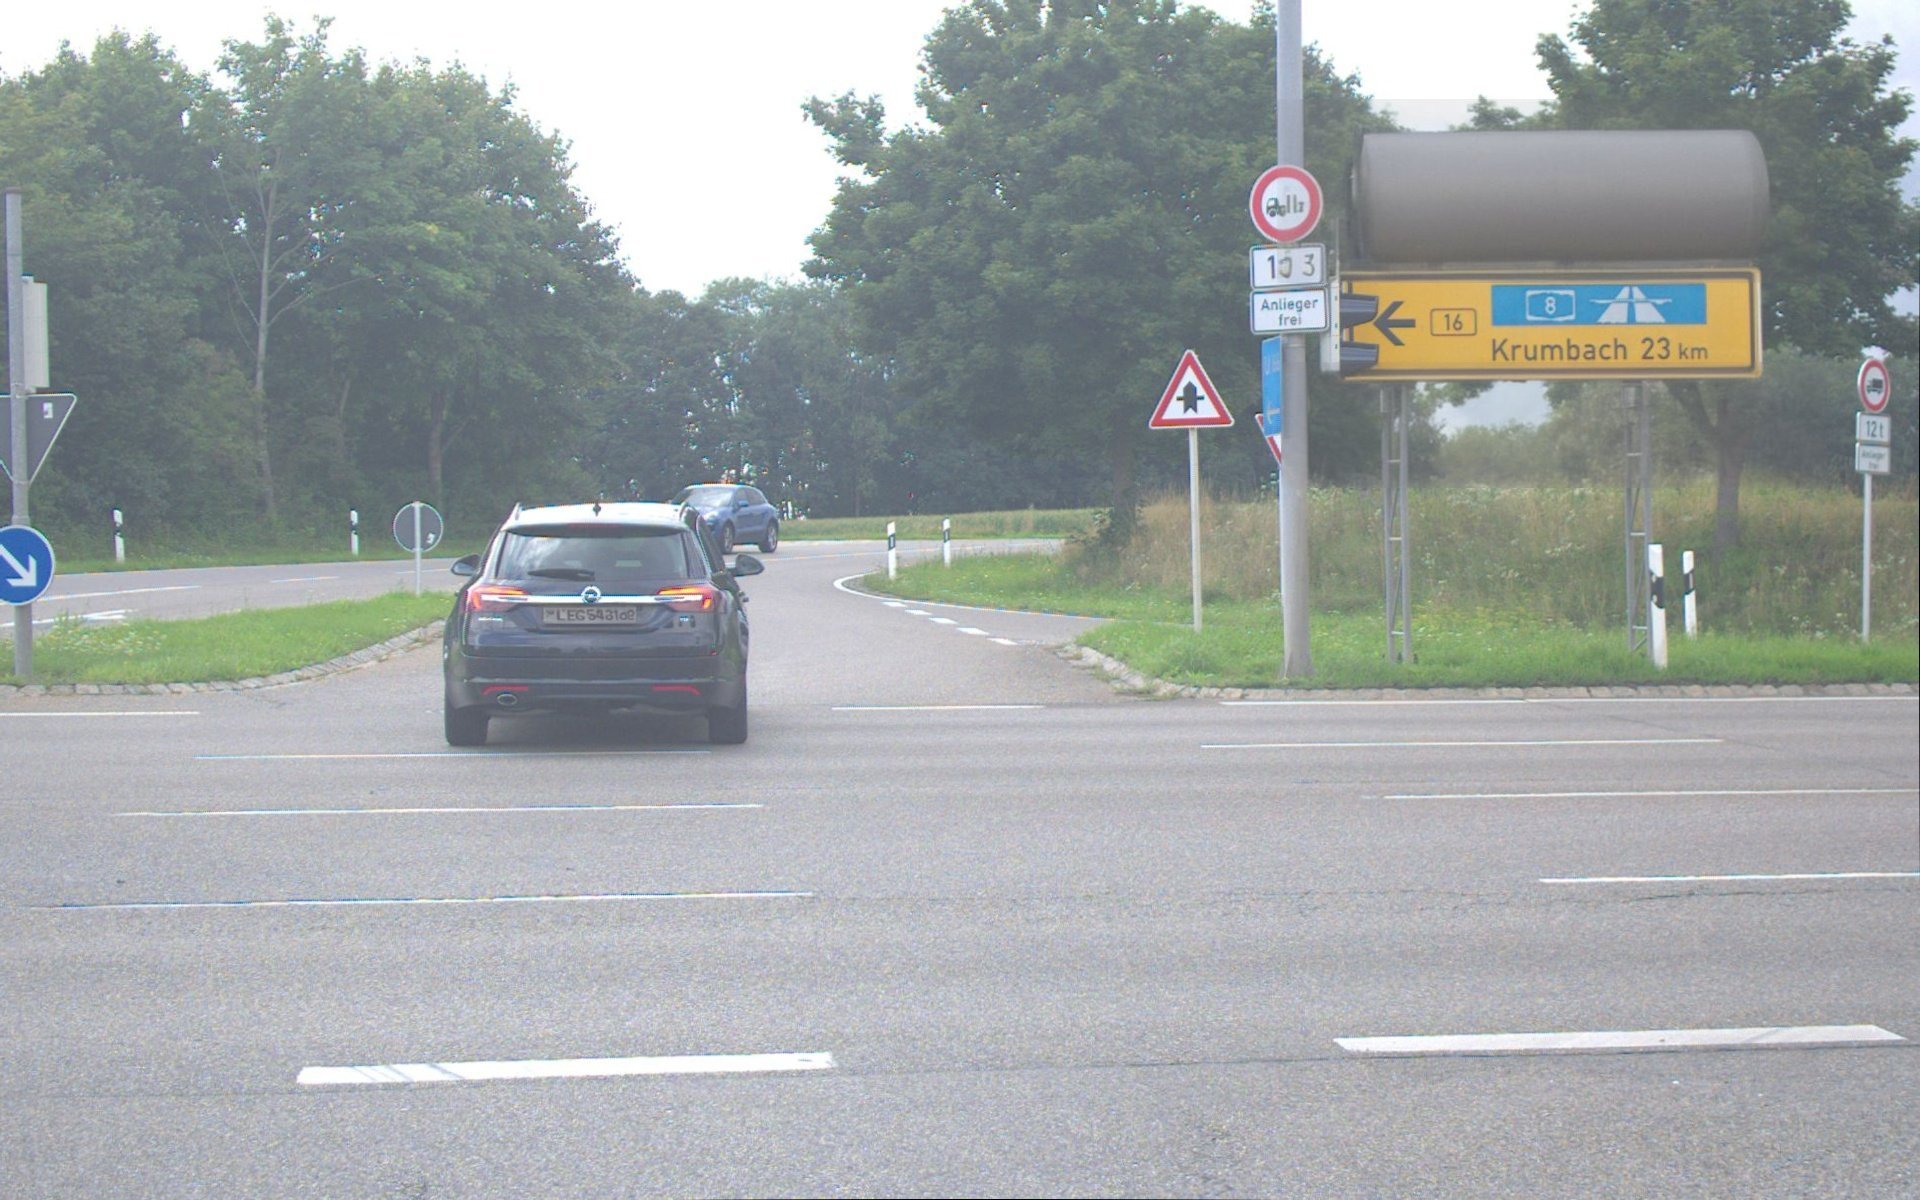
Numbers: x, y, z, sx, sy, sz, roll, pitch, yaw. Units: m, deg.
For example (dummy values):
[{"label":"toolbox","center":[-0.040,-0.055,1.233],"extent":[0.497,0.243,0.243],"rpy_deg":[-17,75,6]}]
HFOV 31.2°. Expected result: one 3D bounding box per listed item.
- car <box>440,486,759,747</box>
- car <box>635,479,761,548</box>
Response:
[{"label":"car","center":[-2.199,0.025,21.780],"extent":[1.807,1.445,4.274],"rpy_deg":[0,2,-4]},{"label":"car","center":[-6.081,-2.036,80.363],"extent":[1.994,1.565,4.755],"rpy_deg":[0,2,8]}]
